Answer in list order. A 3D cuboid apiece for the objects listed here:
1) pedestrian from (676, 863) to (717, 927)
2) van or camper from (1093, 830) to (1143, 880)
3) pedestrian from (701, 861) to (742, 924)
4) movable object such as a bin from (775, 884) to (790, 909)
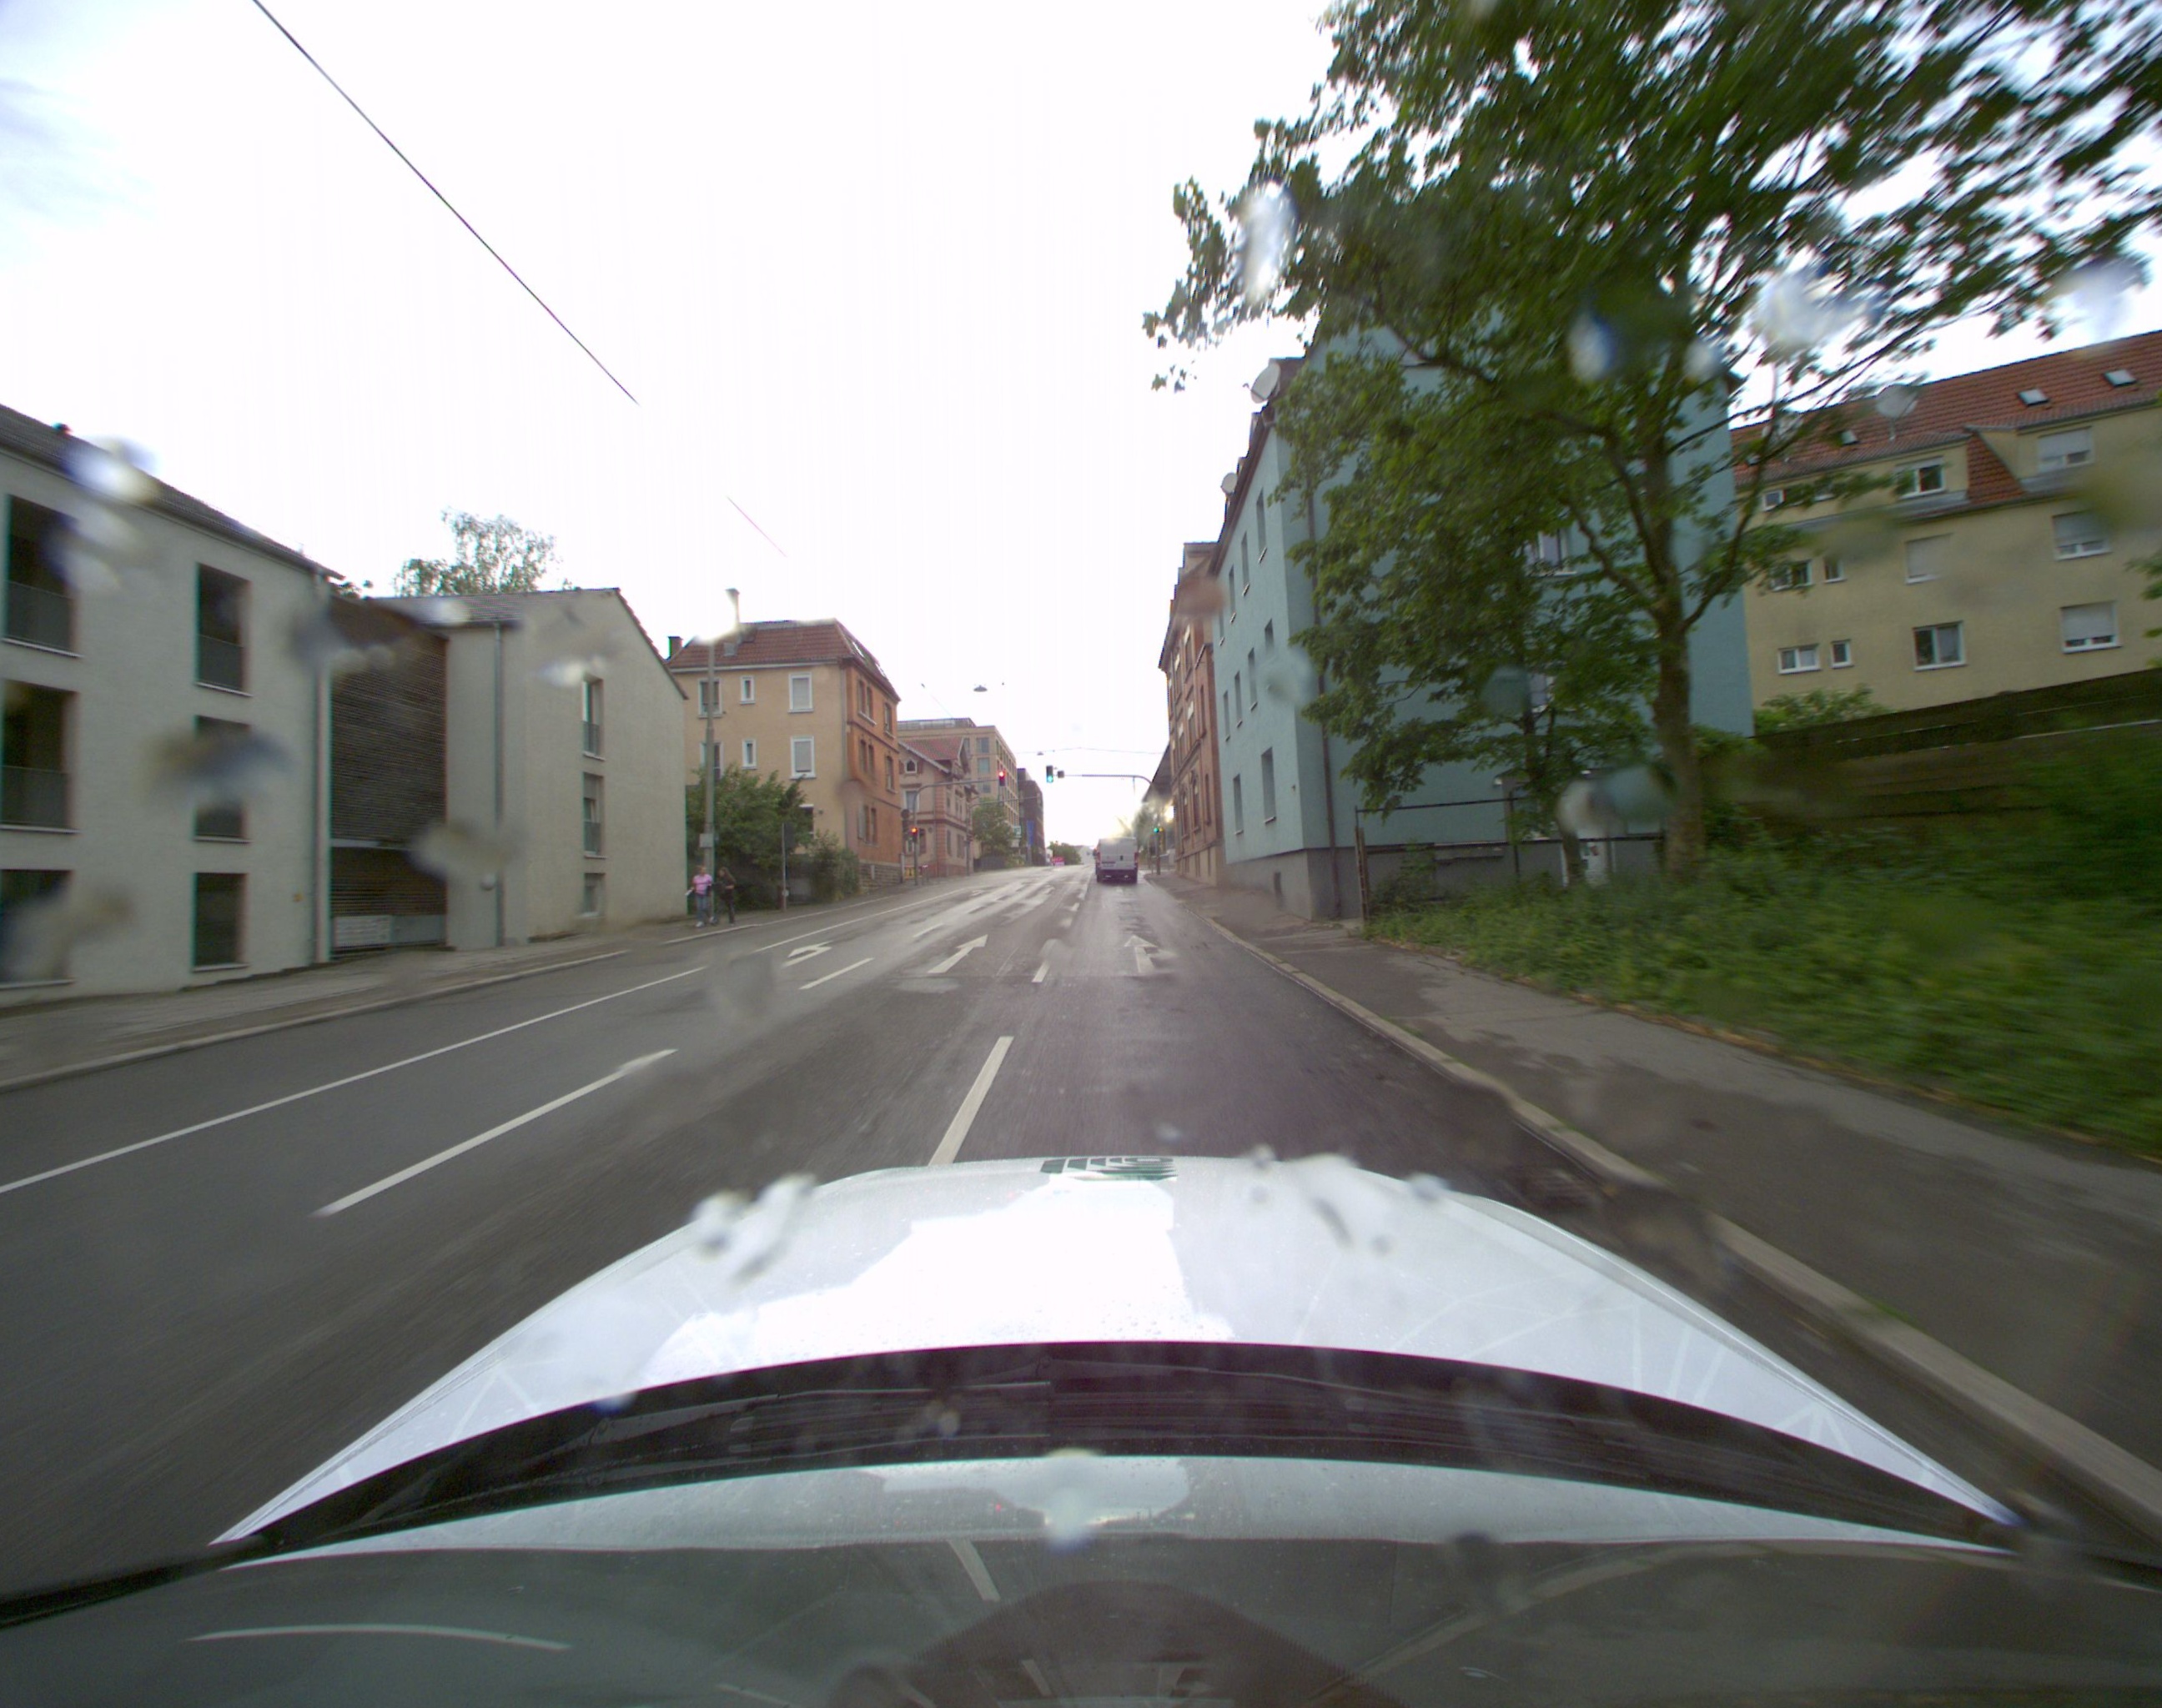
[{"bbox_3d":[-10.628,1.126,22.531,0.638,1.706,0.911,-2,-1,2],"label":"pedestrian"},{"bbox_3d":[1.865,0.077,41.658,2.331,2.357,5.202,-1,-1,2],"label":"van or camper"},{"bbox_3d":[-9.937,1.045,22.536,0.638,1.706,0.911,-2,-1,2],"label":"pedestrian"},{"bbox_3d":[-11.315,1.591,30.854,0.408,0.925,0.525,-1,-1,-5],"label":"movable object such as a bin"}]
